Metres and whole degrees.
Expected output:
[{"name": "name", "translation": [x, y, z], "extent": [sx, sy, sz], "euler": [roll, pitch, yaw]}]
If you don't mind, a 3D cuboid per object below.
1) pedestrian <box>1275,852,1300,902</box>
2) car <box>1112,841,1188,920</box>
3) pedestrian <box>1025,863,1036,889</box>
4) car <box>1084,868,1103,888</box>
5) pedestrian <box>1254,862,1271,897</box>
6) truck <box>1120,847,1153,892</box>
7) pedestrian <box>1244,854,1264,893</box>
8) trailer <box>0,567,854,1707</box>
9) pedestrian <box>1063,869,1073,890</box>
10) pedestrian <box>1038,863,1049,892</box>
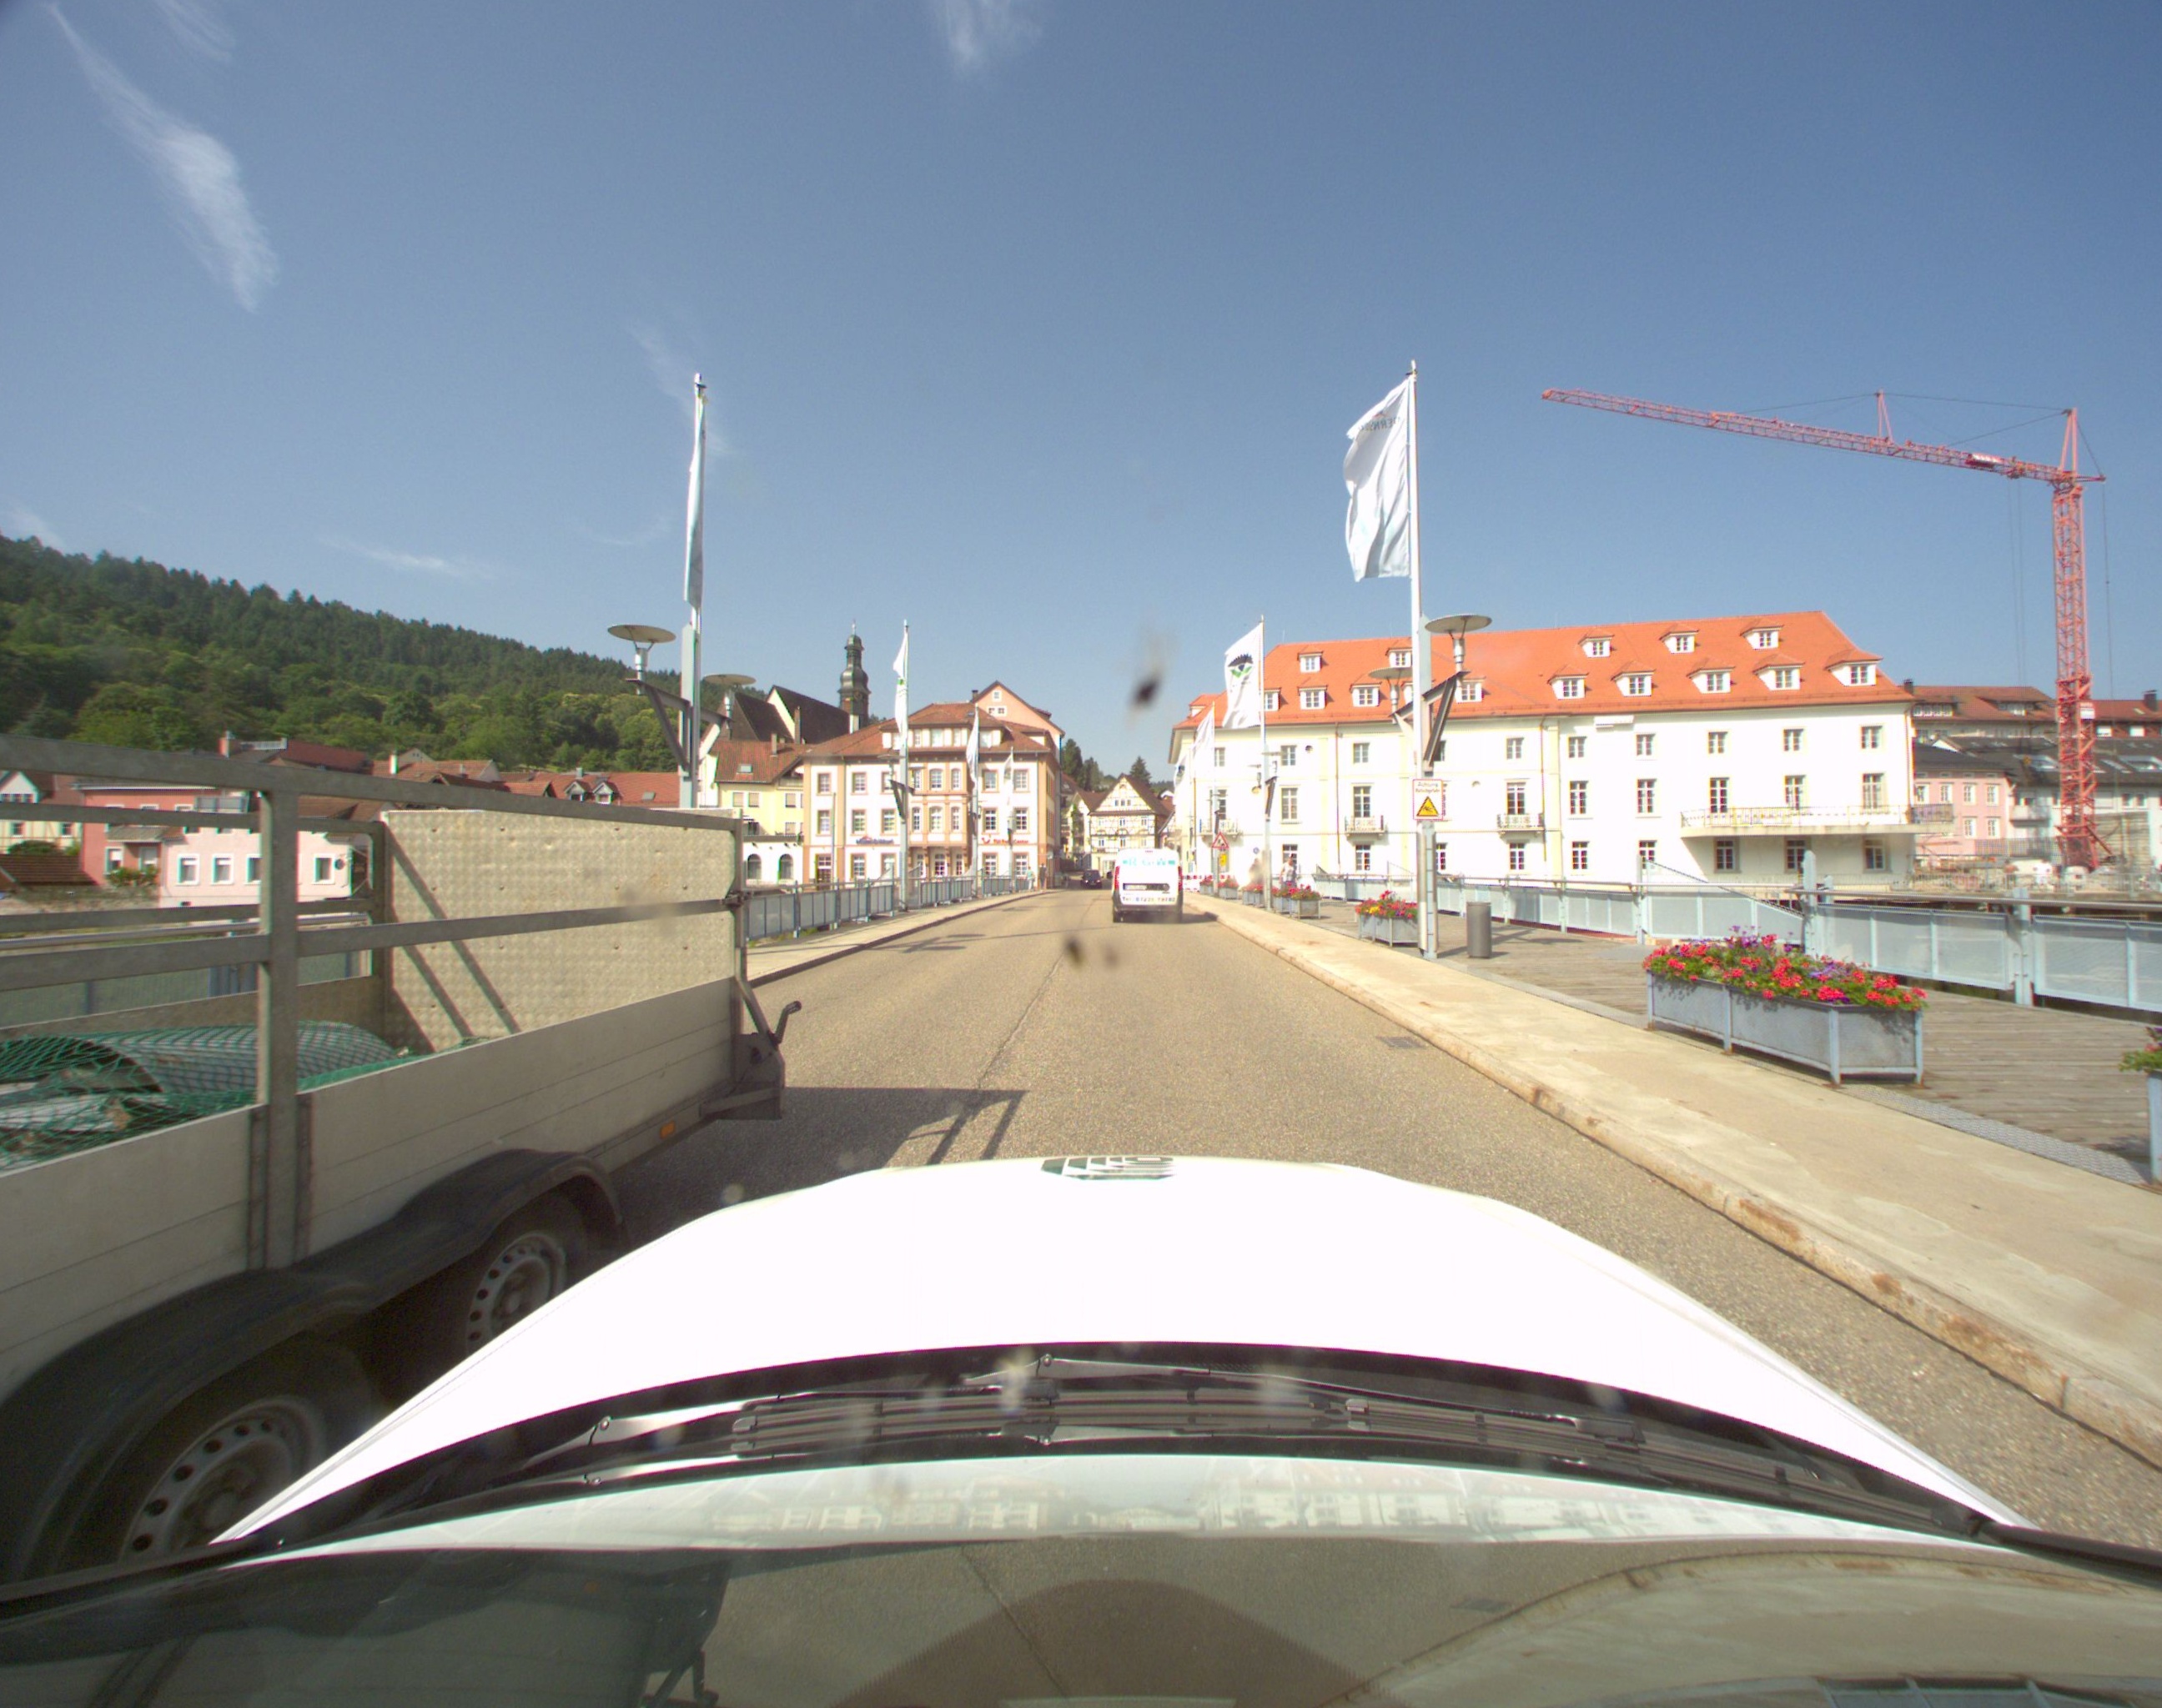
[{"name": "pedestrian", "translation": [6.702, 0.732, 26.459], "extent": [0.663, 1.618, 0.563], "euler": [0, -1, 2]}, {"name": "car", "translation": [1.763, 0.678, 21.903], "extent": [1.837, 1.906, 4.316], "euler": [0, -1, 2]}, {"name": "pedestrian", "translation": [-3.157, 1.367, 51.020], "extent": [0.581, 1.610, 0.538], "euler": [1, -1, 3]}, {"name": "car", "translation": [1.175, 2.225, 76.570], "extent": [1.770, 1.792, 4.697], "euler": [1, 0, 1]}, {"name": "pedestrian", "translation": [6.650, 0.931, 29.906], "extent": [0.450, 1.244, 0.625], "euler": [0, -2, -3]}, {"name": "truck", "translation": [3.273, 0.910, 49.002], "extent": [1.854, 2.585, 4.262], "euler": [0, -1, 2]}, {"name": "pedestrian", "translation": [7.615, 0.857, 35.807], "extent": [0.723, 1.723, 0.747], "euler": [0, -1, 1]}, {"name": "trailer", "translation": [-2.721, 0.542, 1.410], "extent": [2.598, 1.827, 5.646], "euler": [-1, 0, 5]}, {"name": "pedestrian", "translation": [-1.152, 2.199, 70.544], "extent": [0.800, 1.857, 0.616], "euler": [0, -1, 1]}, {"name": "pedestrian", "translation": [-2.363, 1.471, 50.952], "extent": [0.612, 1.762, 0.864], "euler": [1, -1, 0]}]
